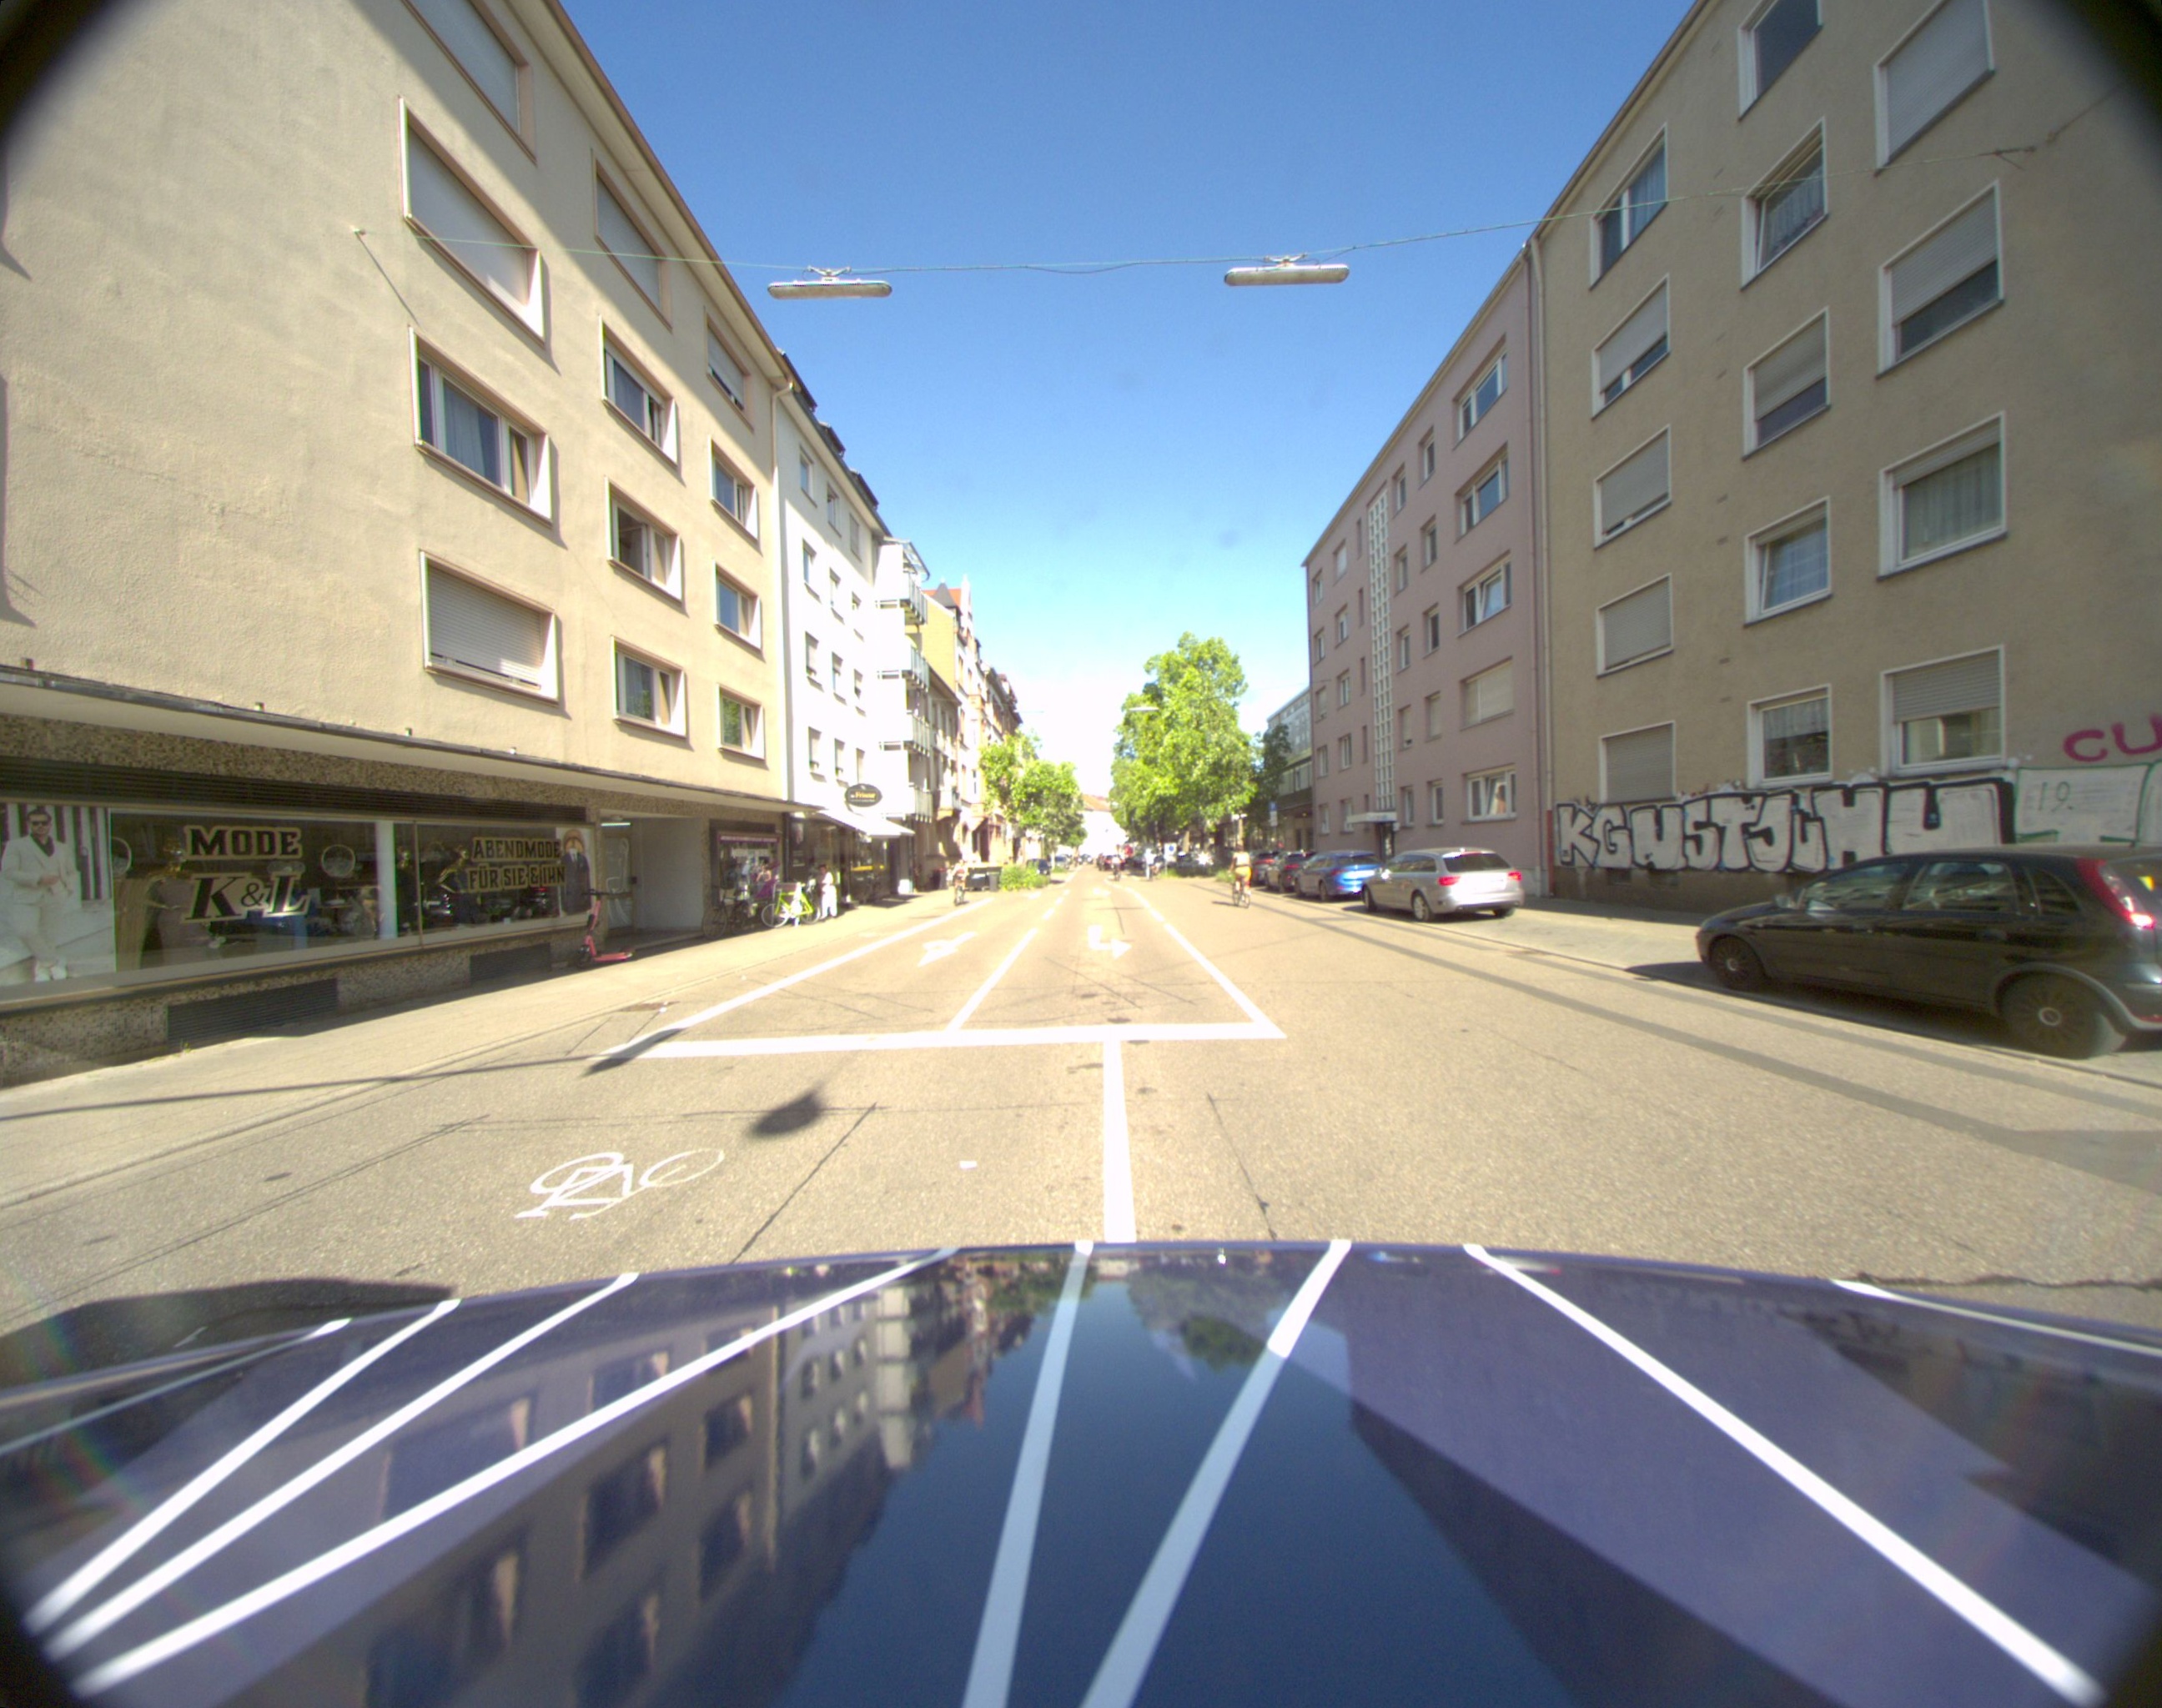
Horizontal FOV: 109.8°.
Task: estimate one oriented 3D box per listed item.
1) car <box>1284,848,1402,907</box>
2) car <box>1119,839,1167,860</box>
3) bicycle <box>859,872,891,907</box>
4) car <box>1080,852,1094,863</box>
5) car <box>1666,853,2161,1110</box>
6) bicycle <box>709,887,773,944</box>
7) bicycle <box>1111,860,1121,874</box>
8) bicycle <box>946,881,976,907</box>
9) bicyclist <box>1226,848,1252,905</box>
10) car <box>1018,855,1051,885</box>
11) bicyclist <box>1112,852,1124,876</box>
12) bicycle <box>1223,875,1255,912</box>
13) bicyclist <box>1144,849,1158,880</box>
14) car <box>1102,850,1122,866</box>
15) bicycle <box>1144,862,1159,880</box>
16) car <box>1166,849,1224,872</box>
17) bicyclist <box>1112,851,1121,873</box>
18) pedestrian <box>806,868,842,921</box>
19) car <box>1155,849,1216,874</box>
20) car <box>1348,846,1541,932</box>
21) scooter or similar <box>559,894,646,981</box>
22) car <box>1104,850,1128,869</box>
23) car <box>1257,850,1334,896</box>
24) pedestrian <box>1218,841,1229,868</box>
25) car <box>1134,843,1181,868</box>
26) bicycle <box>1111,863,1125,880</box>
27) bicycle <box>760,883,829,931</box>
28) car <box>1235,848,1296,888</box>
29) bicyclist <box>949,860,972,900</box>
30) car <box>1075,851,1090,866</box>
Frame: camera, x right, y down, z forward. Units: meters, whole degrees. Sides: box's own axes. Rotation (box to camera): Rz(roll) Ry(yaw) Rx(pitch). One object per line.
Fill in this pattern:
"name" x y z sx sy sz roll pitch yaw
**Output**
"car" 7.788 0.632 23.099 1.828 1.494 4.801 -4 0 0
"car" 7.646 -0.525 93.885 5.560 2.379 1.977 -2 1 -6
"bicycle" -7.228 1.229 26.690 0.598 1.137 1.774 1 1 1
"car" 0.835 0.445 100.617 1.627 1.270 3.547 -2 0 3
"car" 7.353 0.771 6.475 1.695 1.440 3.856 -4 0 0
"bicycle" -7.404 1.316 16.619 0.407 1.078 1.801 1 0 6
"bicycle" 2.540 0.917 54.825 0.681 0.946 1.933 0 0 1
"bicycle" -4.196 1.393 26.625 0.582 0.801 1.710 -2 0 6
"bicyclist" 4.316 0.596 20.796 0.544 1.512 0.774 -2 1 1
"car" -2.687 0.896 44.573 1.627 1.587 3.547 -2 0 1
"bicyclist" 2.149 0.595 44.583 0.544 1.383 0.788 -2 1 -5
"bicycle" 4.333 1.070 20.931 0.544 0.897 1.826 -2 0 1
"bicyclist" 3.866 0.569 41.930 0.681 1.621 0.899 -2 1 1
"car" 3.070 0.393 75.812 1.911 1.543 4.000 -2 0 1
"bicycle" 3.874 0.926 41.953 0.681 0.946 1.933 -2 0 1
"car" 8.188 0.452 54.947 3.996 1.543 1.913 -2 1 3
"bicyclist" 2.551 0.548 54.815 0.681 1.567 0.899 0 1 1
"pedestrian" -7.177 1.120 21.254 0.775 1.434 0.625 -2 1 -3
"car" 7.105 0.516 51.871 3.996 1.543 1.913 -2 1 3
"car" 7.623 0.641 16.572 1.828 1.494 4.801 -4 0 0
"scooter or similar" -7.515 1.280 11.993 0.527 1.218 1.228 -2 1 1
"car" 3.053 0.470 66.064 1.911 1.543 4.000 -2 0 1
"car" 7.797 0.627 27.966 1.727 1.459 4.158 -4 0 3
"pedestrian" 9.888 0.025 52.591 0.623 1.796 0.502 -2 1 2
"car" 6.623 0.115 66.039 3.875 2.031 1.913 -2 1 3
"bicycle" 2.177 1.004 44.403 0.544 0.897 1.825 -2 0 -5
"bicycle" -7.194 1.312 19.109 1.497 1.100 0.722 -2 1 -31
"car" 7.976 0.561 33.224 1.727 1.567 4.158 -4 0 3
"bicyclist" -4.218 0.908 26.590 0.582 1.369 0.665 -2 1 6
"car" 0.235 0.521 87.030 1.627 1.587 3.547 -2 0 1
